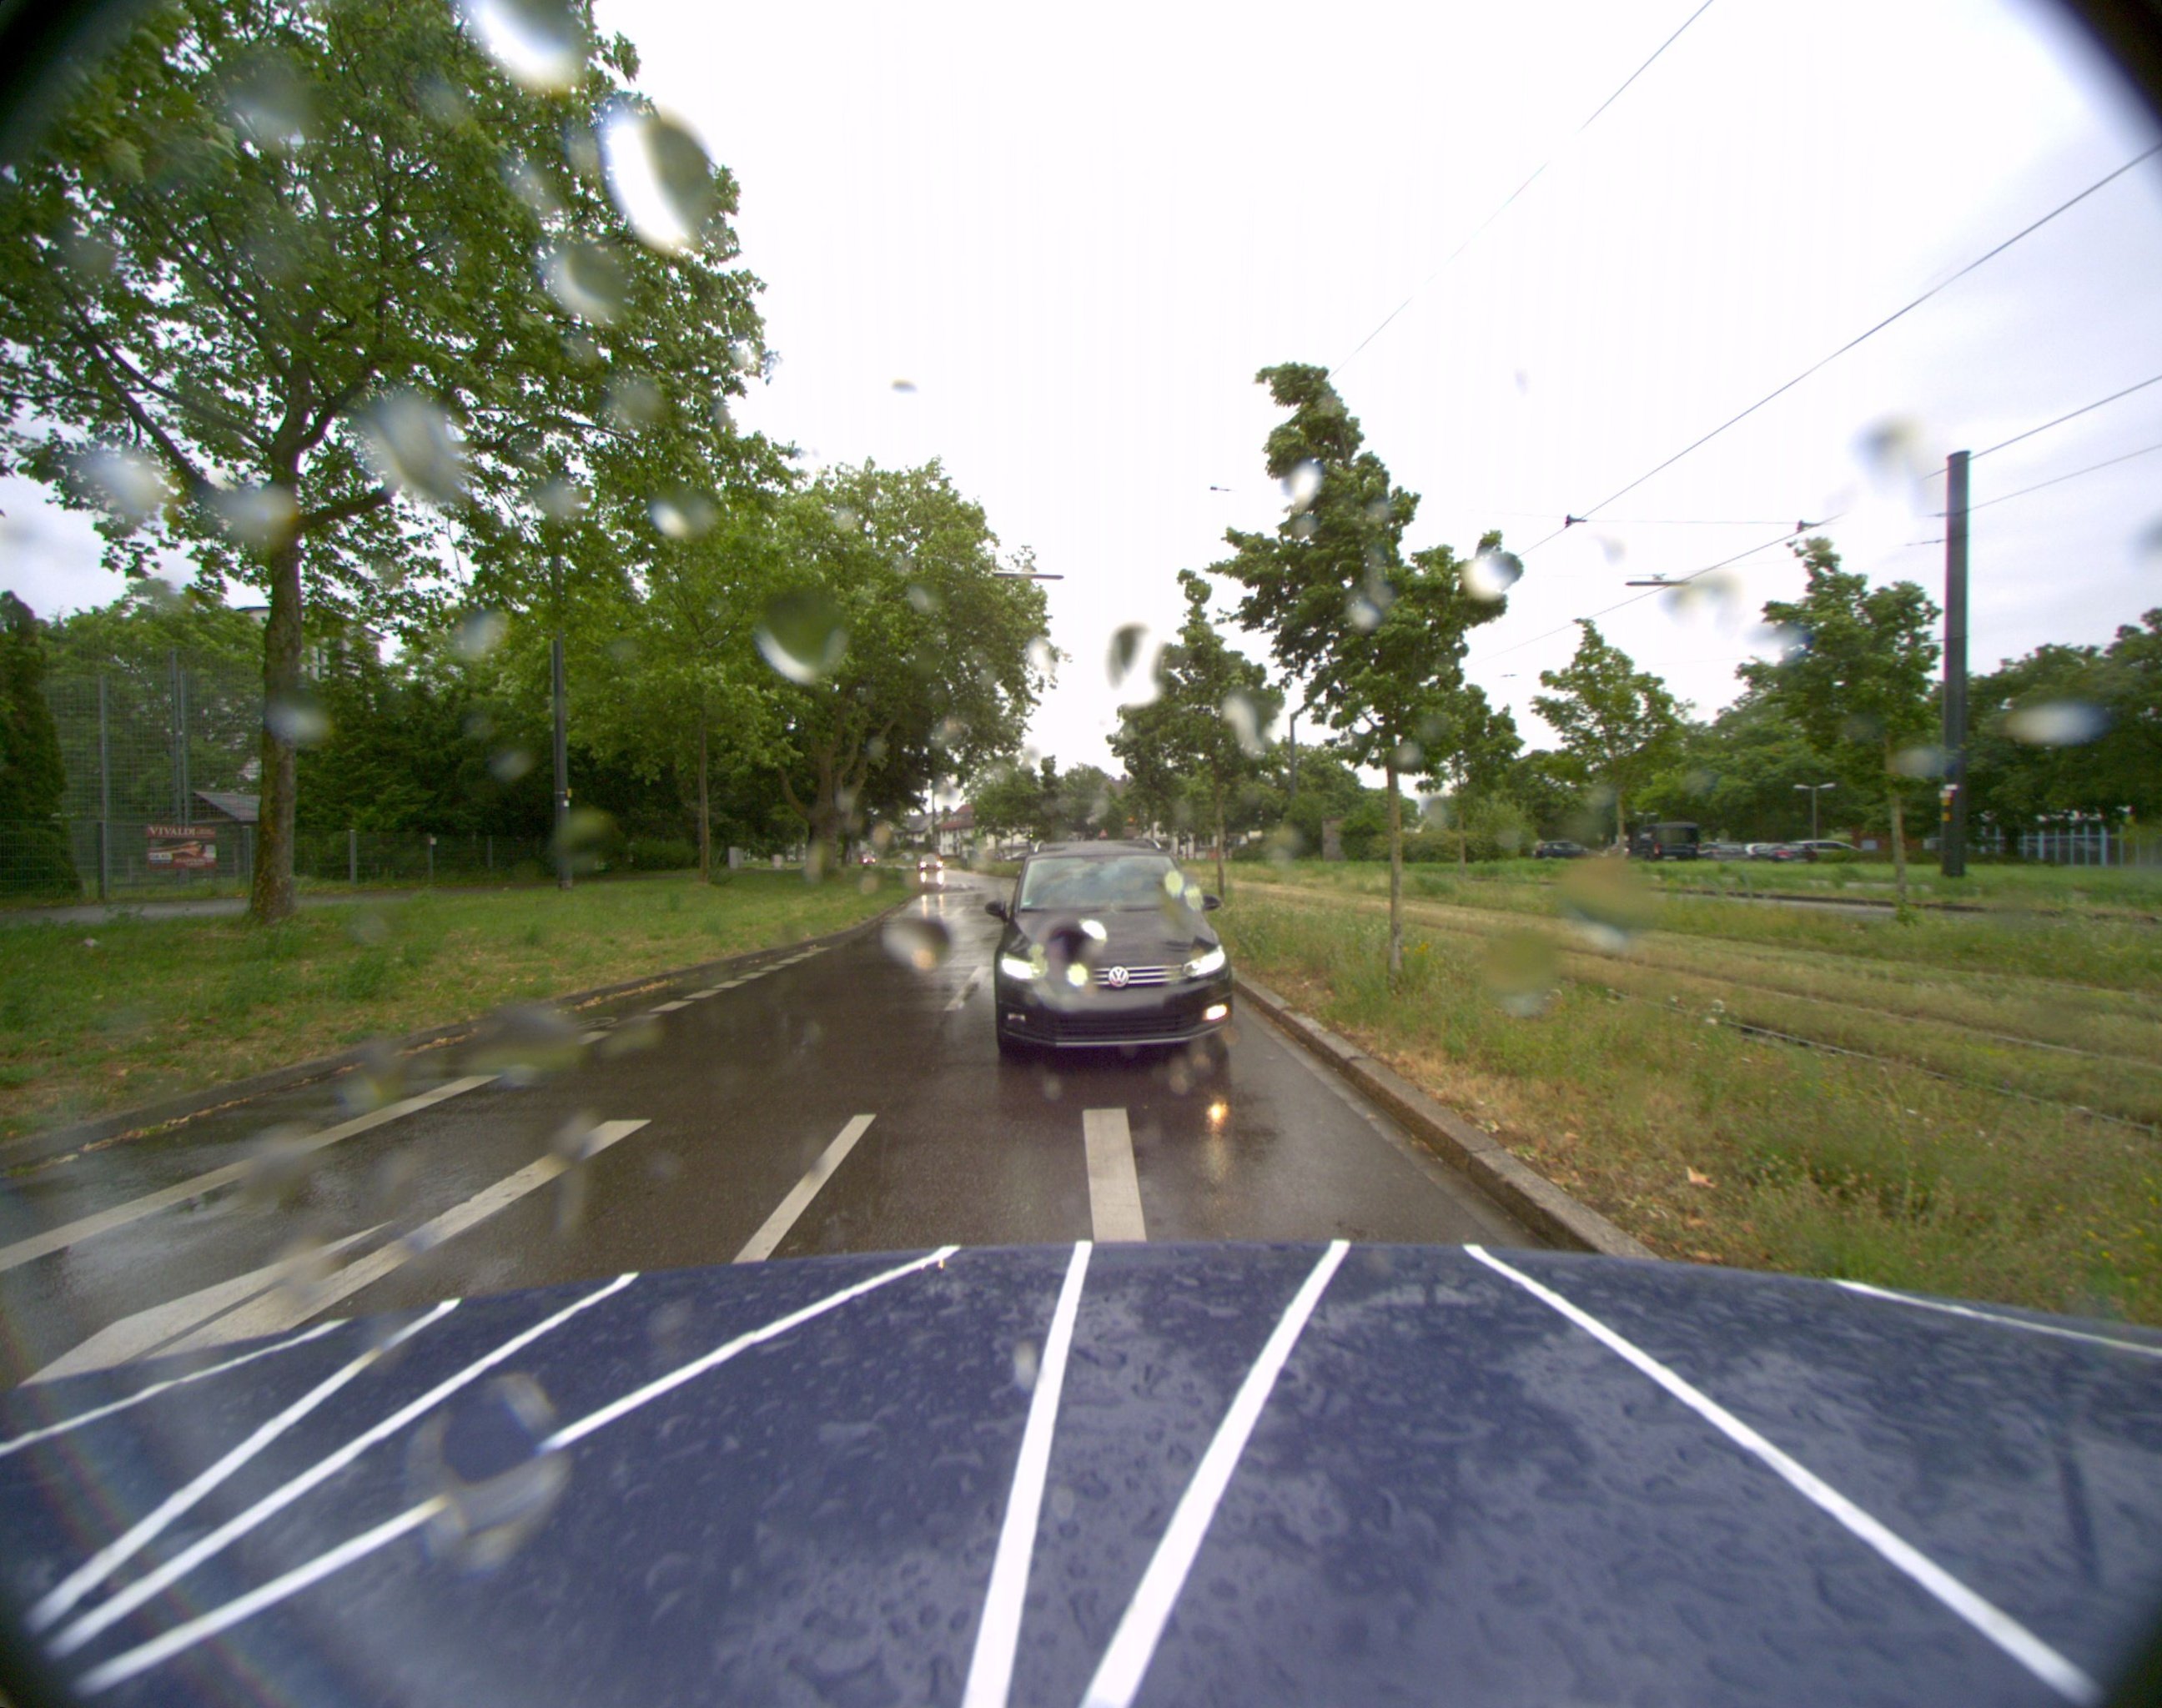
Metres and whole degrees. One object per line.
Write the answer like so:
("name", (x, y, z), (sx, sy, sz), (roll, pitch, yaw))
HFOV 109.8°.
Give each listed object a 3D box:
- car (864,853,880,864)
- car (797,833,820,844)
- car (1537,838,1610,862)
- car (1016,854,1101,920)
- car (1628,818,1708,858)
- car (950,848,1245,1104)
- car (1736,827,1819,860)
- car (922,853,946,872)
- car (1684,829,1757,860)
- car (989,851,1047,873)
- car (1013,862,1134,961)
("car", (-28.048, 0.615, 102.023), (1.791, 1.373, 3.858), (-3, 1, -19))
("car", (-51.659, -2.965, 143.964), (4.004, 1.816, 1.996), (-3, 1, -24))
("car", (34.751, -0.287, 53.750), (4.172, 1.474, 1.786), (-2, 1, 27))
("car", (-0.669, 0.750, 19.078), (1.789, 1.396, 3.791), (-2, 1, -6))
("car", (31.999, -0.882, 41.602), (2.307, 2.002, 5.125), (-2, 1, 24))
("car", (0.132, 0.780, 7.221), (1.866, 1.592, 4.524), (-2, 1, 1))
("car", (36.593, -0.599, 40.082), (2.057, 1.564, 5.024), (-2, 1, 29))
("car", (-13.078, 0.731, 67.654), (1.874, 1.608, 3.804), (-2, 1, -13))
("car", (34.639, -0.539, 41.285), (1.752, 1.522, 4.856), (-2, 1, 24))
("car", (-4.663, 0.563, 55.626), (4.046, 1.412, 1.674), (-2, 1, -10))
("car", (-0.179, 0.884, 13.475), (1.788, 1.355, 3.996), (-2, 1, -2))
